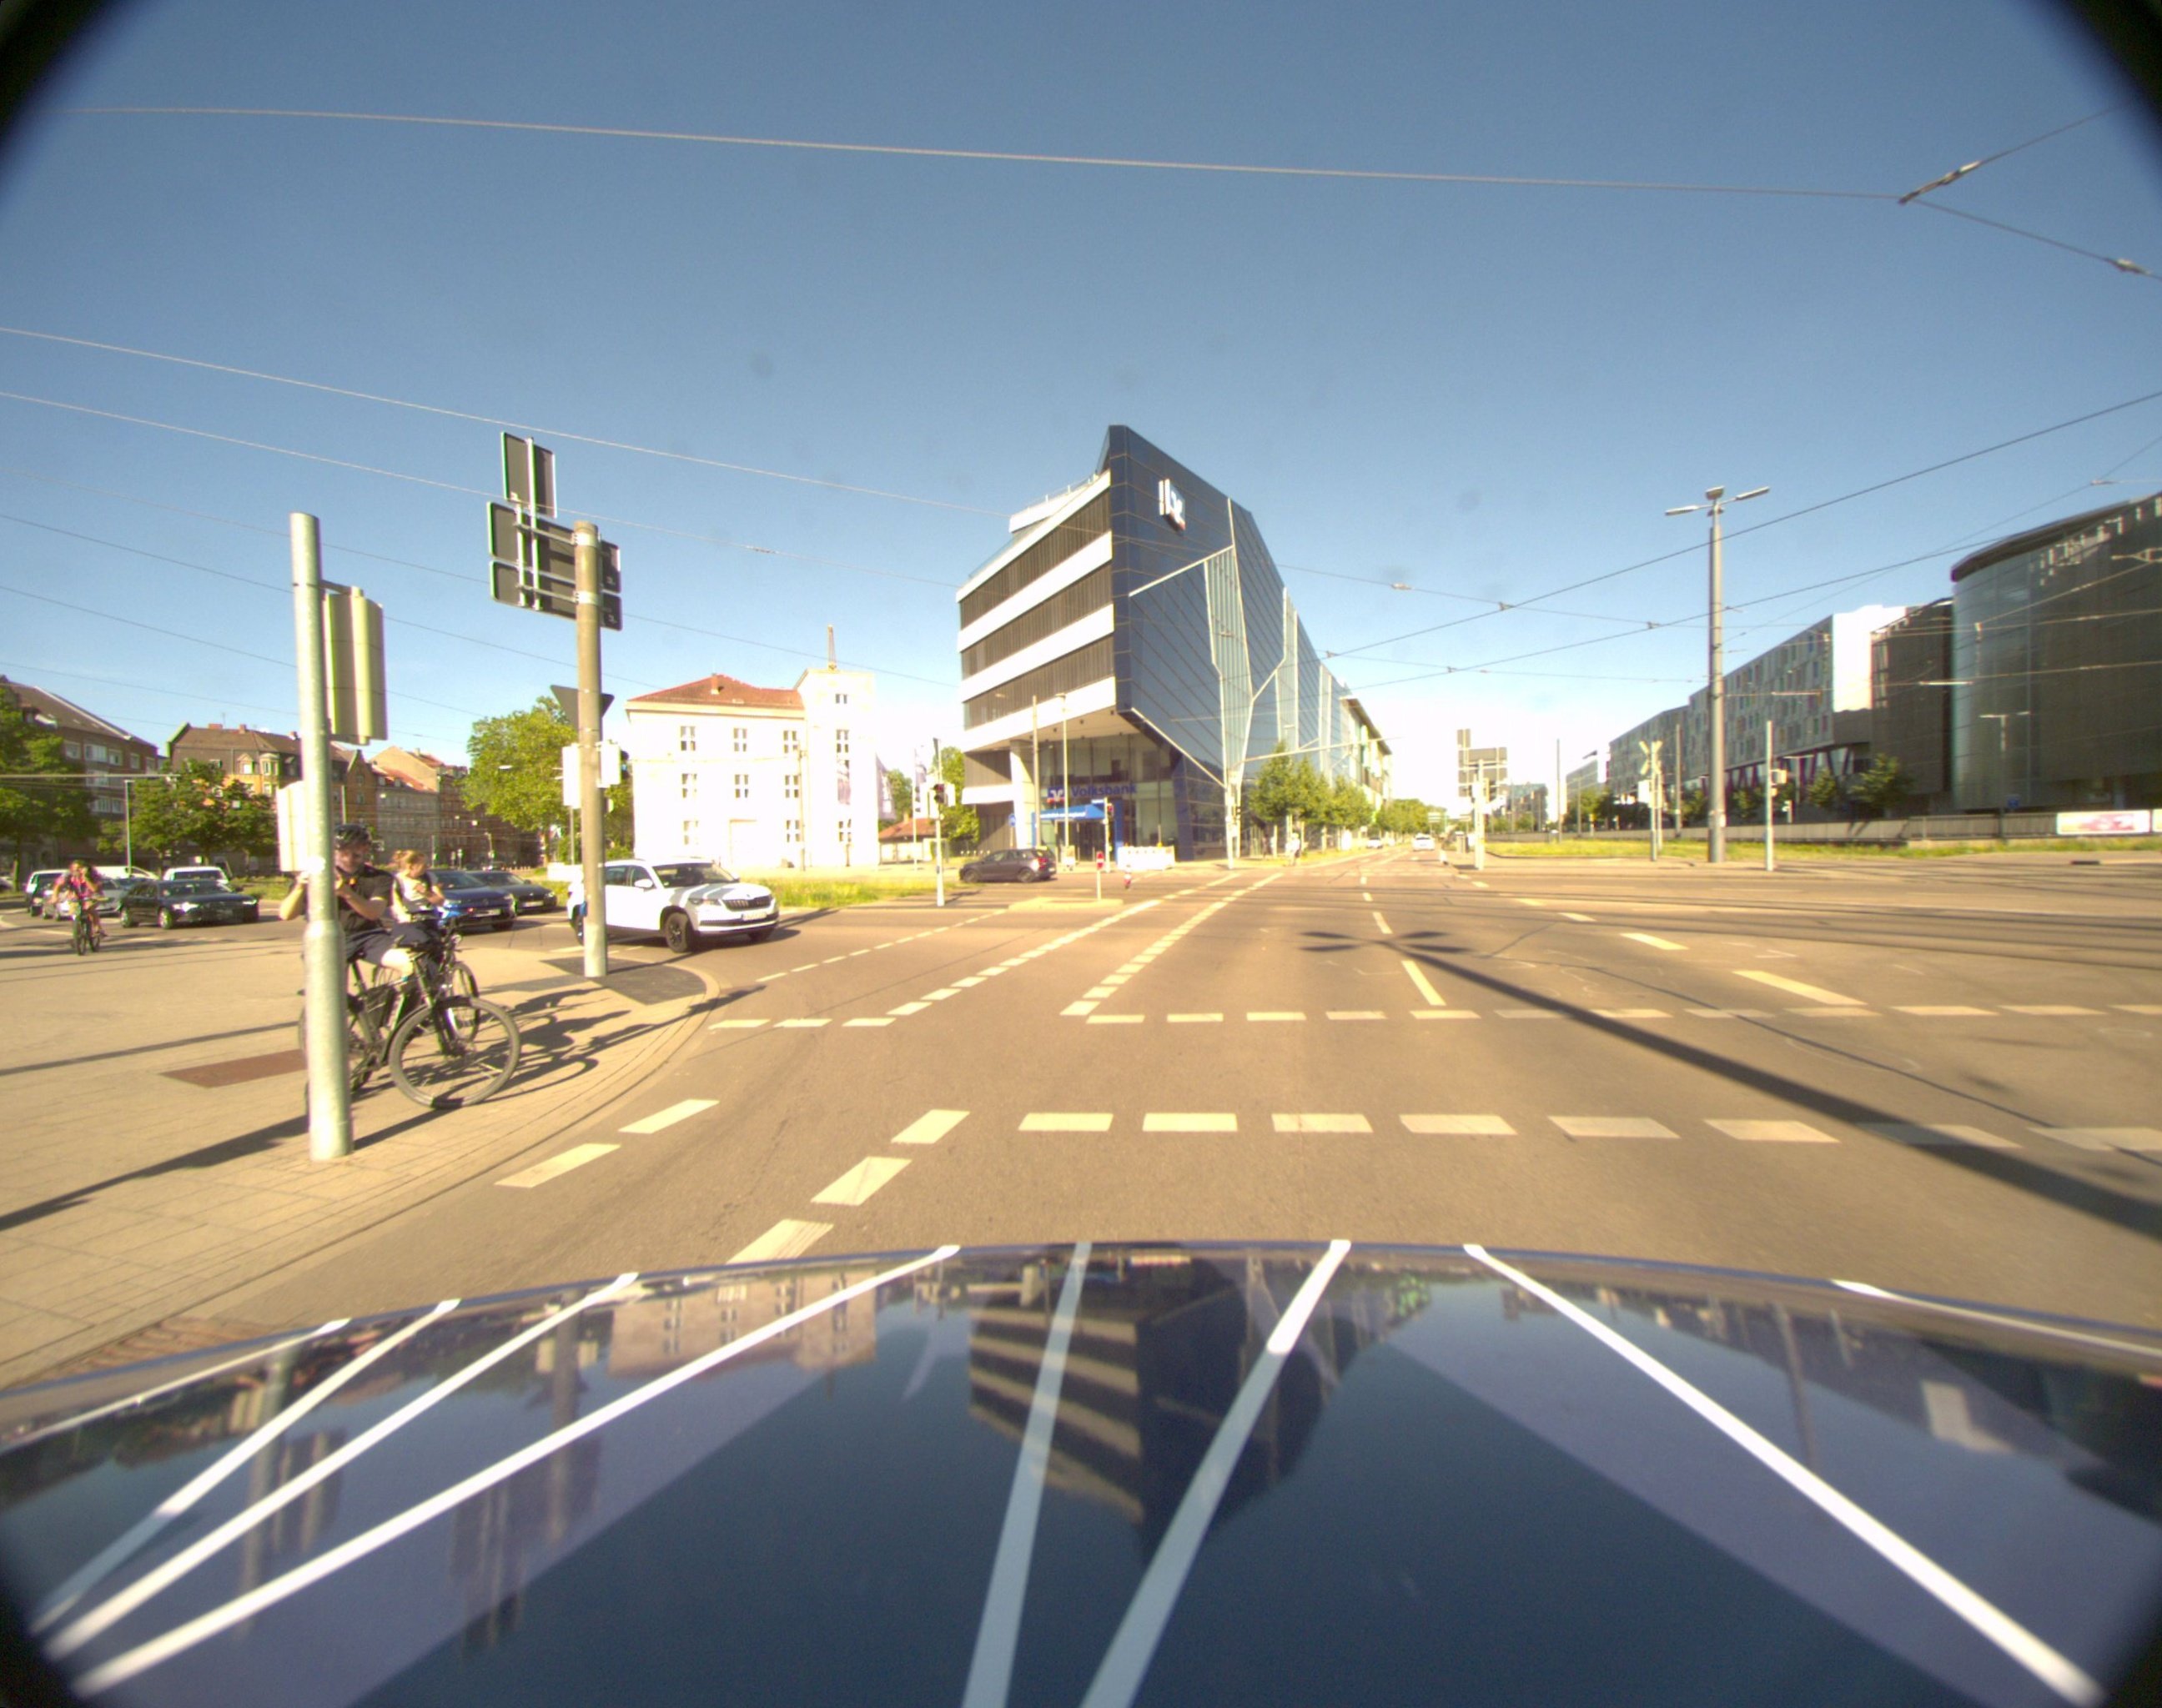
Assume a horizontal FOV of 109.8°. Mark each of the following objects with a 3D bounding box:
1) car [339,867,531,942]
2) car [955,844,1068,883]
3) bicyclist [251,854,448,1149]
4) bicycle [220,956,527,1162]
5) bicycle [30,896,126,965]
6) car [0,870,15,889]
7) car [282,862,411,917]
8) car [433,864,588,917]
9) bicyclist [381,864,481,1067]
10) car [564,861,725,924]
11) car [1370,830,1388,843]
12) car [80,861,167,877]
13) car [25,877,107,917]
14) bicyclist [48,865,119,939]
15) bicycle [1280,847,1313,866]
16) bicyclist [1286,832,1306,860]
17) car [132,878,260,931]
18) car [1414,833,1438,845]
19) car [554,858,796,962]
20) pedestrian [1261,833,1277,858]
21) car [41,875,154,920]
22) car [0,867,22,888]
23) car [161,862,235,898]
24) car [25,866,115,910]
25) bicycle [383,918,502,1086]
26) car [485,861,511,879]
[{"bbox_3d":[-15.557,1.161,18.316,3.990,1.547,1.877,-1,1,23],"label":"car"},{"bbox_3d":[-2.949,0.402,32.379,4.300,1.491,2.003,-1,1,21],"label":"car"},{"bbox_3d":[-4.802,0.899,5.005,0.904,1.788,0.550,0,1,18],"label":"bicyclist"},{"bbox_3d":[-4.606,1.257,4.948,1.892,1.032,0.607,0,1,18],"label":"bicycle"},{"bbox_3d":[-19.167,1.423,14.565,0.698,1.098,2.005,0,1,-41],"label":"bicycle"},{"bbox_3d":[-74.438,1.794,50.298,1.994,1.227,4.409,-1,1,35],"label":"car"},{"bbox_3d":[-25.343,1.200,26.207,4.316,1.675,1.772,-1,3,27],"label":"car"},{"bbox_3d":[-17.716,1.110,23.594,4.473,1.423,1.844,-1,3,25],"label":"car"},{"bbox_3d":[-5.828,0.926,6.799,0.597,1.645,1.000,-2,2,-43],"label":"bicyclist"},{"bbox_3d":[-11.697,1.006,20.385,3.826,1.423,1.671,-1,4,23],"label":"car"},{"bbox_3d":[41.684,-2.486,106.218,1.995,1.718,4.006,-1,1,25],"label":"car"},{"bbox_3d":[-85.127,1.337,67.640,1.995,1.203,4.408,-1,1,26],"label":"car"},{"bbox_3d":[-44.761,1.851,33.491,3.989,1.547,1.878,-1,2,34],"label":"car"},{"bbox_3d":[-19.319,0.912,14.734,0.698,1.369,0.736,0,1,-41],"label":"bicyclist"},{"bbox_3d":[11.040,0.118,38.935,0.768,0.835,2.573,-1,2,36],"label":"bicycle"},{"bbox_3d":[11.031,-0.403,38.944,0.760,1.402,0.773,-1,2,36],"label":"bicyclist"},{"bbox_3d":[-27.052,1.488,23.213,3.828,1.425,1.588,-1,1,26],"label":"car"},{"bbox_3d":[32.604,-1.420,71.718,1.995,1.084,4.006,-1,1,25],"label":"car"},{"bbox_3d":[-7.673,0.953,14.296,4.327,1.621,1.878,-1,2,29],"label":"car"},{"bbox_3d":[12.307,-0.553,49.642,0.855,1.547,0.614,-1,2,30],"label":"pedestrian"},{"bbox_3d":[-37.435,1.614,28.921,3.990,1.547,1.878,-1,1,27],"label":"car"},{"bbox_3d":[-76.627,1.715,52.214,1.994,1.453,4.409,-1,1,35],"label":"car"},{"bbox_3d":[-41.839,1.181,36.001,3.989,1.547,1.878,-1,2,36],"label":"car"},{"bbox_3d":[-50.270,1.616,37.873,1.878,1.971,4.641,-3,2,-43],"label":"car"},{"bbox_3d":[-5.698,1.207,6.737,0.698,1.098,2.005,0,1,-43],"label":"bicycle"},{"bbox_3d":[-59.973,1.594,78.177,1.773,1.740,3.990,-3,1,-33],"label":"car"}]
